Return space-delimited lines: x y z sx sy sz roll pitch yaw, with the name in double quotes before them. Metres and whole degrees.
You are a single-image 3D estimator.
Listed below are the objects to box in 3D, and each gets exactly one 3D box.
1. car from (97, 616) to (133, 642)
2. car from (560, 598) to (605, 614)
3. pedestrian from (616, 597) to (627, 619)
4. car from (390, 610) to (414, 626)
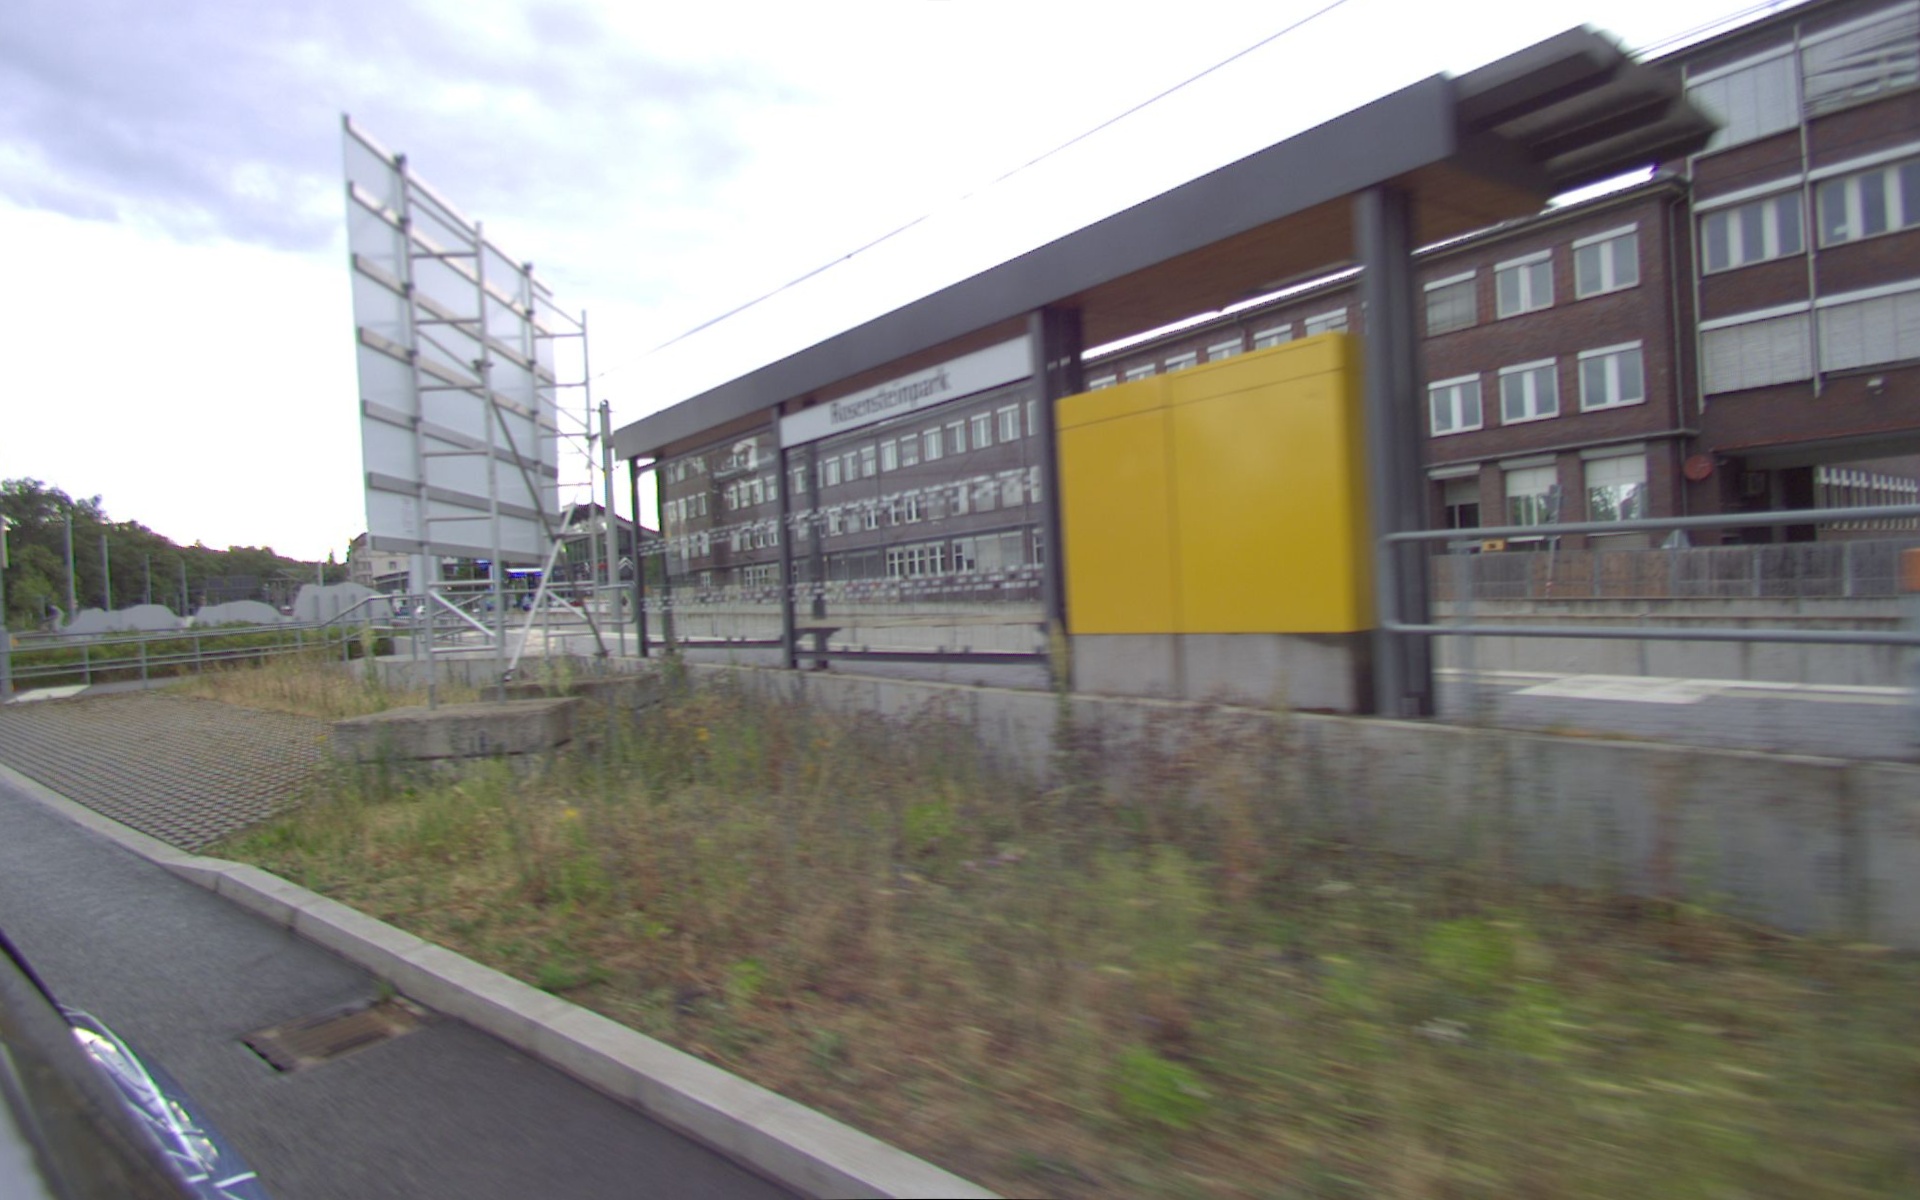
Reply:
"car" -68.837 2.329 82.520 1.967 2.029 4.009 -1 -1 -36
"car" -43.931 0.698 117.745 4.505 1.773 2.004 -2 0 -37
"pedestrian" -31.138 0.699 93.054 0.723 2.029 0.577 -1 0 17
"car" -73.413 2.354 133.139 1.968 2.029 4.007 -1 -1 -39
